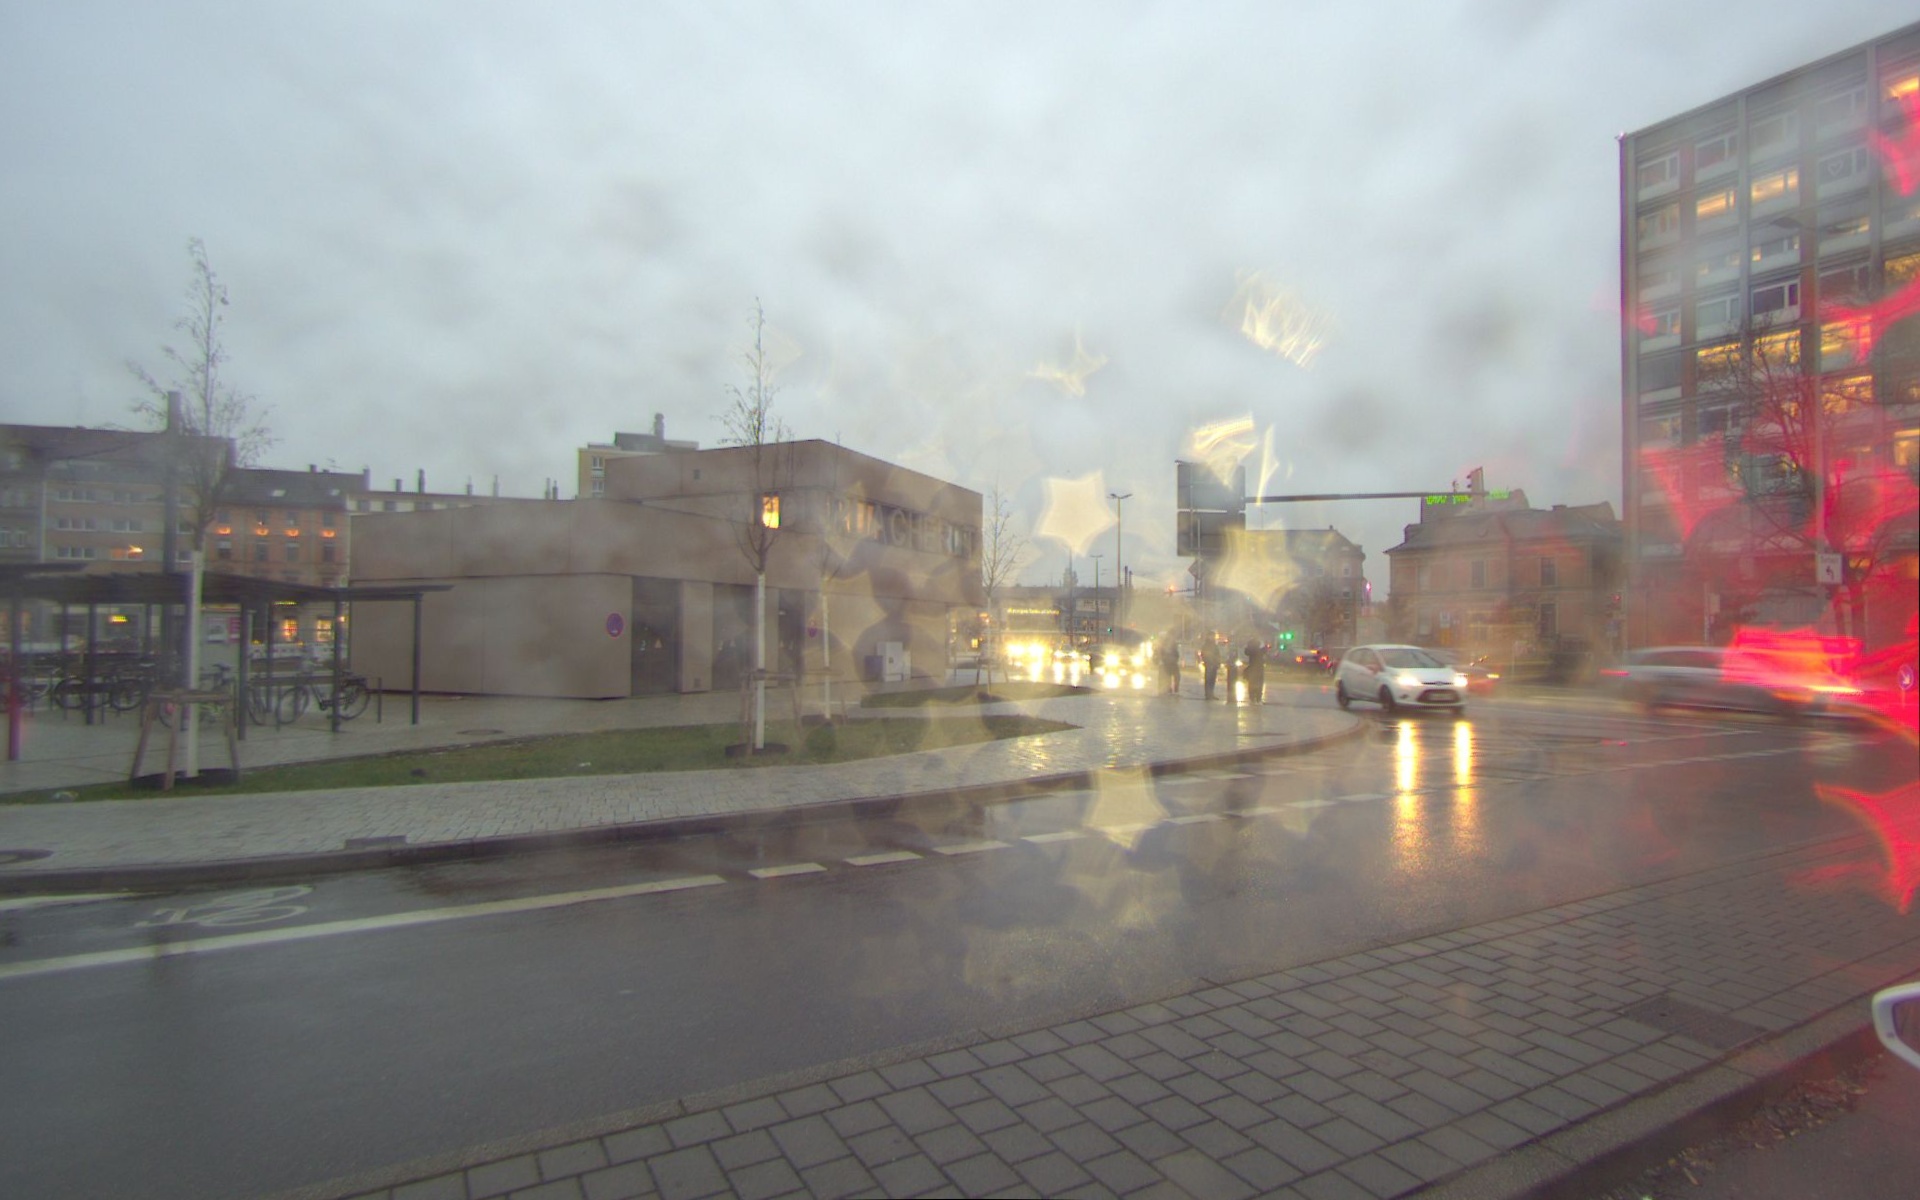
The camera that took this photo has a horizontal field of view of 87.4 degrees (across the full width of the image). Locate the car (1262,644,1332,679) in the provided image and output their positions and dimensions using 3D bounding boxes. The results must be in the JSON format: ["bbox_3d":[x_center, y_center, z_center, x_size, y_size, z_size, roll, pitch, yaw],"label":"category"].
[{"bbox_3d":[17.847,3.250,53.402,1.794,1.589,3.993,2,0,-10],"label":"car"}]

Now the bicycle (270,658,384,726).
[{"bbox_3d":[-11.758,1.683,18.714,0.605,1.172,1.755,1,-2,20],"label":"bicycle"}]

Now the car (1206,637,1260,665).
[{"bbox_3d":[19.609,3.669,72.350,3.514,1.850,1.672,2,0,8],"label":"car"}]

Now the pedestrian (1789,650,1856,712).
[{"bbox_3d":[26.992,2.521,31.451,1.117,1.867,1.004,-2,-2,-3],"label":"pedestrian"}]

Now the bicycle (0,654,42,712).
[{"bbox_3d":[-19.402,1.640,19.833,0.466,1.122,1.797,1,-2,29],"label":"bicycle"}]

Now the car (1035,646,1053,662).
[{"bbox_3d":[8.589,5.532,102.944,1.688,1.616,3.792,-1,-2,2],"label":"car"}]

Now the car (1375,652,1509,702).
[{"bbox_3d":[15.908,2.526,33.477,1.778,1.496,4.587,1,-3,-8],"label":"car"}]

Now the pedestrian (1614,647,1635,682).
[{"bbox_3d":[33.738,3.267,51.006,0.626,1.710,0.640,0,-2,-13],"label":"pedestrian"}]

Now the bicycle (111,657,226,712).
[{"bbox_3d":[-16.538,1.744,21.033,0.466,1.087,1.830,1,-2,26],"label":"bicycle"}]

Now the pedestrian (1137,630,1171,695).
[{"bbox_3d":[5.434,1.750,28.194,0.544,1.793,0.734,2,-3,-43],"label":"pedestrian"}]

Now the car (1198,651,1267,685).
[{"bbox_3d":[12.819,3.203,47.517,1.778,1.496,3.964,1,-3,-7],"label":"car"}]

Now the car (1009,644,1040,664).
[{"bbox_3d":[5.226,4.420,82.078,1.742,1.598,3.995,0,-2,-8],"label":"car"}]

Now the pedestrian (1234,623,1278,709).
[{"bbox_3d":[7.191,1.587,24.379,0.971,2.047,0.802,-1,-2,19],"label":"pedestrian"}]

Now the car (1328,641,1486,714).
[{"bbox_3d":[9.890,1.729,22.544,1.711,1.467,3.714,0,-4,-3],"label":"car"}]

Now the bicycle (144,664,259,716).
[{"bbox_3d":[-15.188,1.786,20.168,0.466,0.968,1.767,1,-2,29],"label":"bicycle"}]

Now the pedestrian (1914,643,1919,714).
[{"bbox_3d":[27.736,2.207,28.201,0.941,2.004,0.930,0,-2,-4],"label":"pedestrian"}]

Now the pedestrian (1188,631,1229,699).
[{"bbox_3d":[6.580,1.714,26.623,0.838,1.778,0.659,0,-2,-14],"label":"pedestrian"}]

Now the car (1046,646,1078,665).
[{"bbox_3d":[8.427,4.599,83.423,1.777,1.496,4.669,1,-3,-5],"label":"car"}]

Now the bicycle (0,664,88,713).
[{"bbox_3d":[-18.517,1.740,19.984,0.466,0.903,1.693,1,-2,24],"label":"bicycle"}]

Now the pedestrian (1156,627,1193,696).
[{"bbox_3d":[5.912,1.695,27.676,0.671,1.863,0.726,2,-3,-42],"label":"pedestrian"}]

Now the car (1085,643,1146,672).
[{"bbox_3d":[8.445,3.113,55.013,1.779,1.496,4.583,1,-3,-12],"label":"car"}]

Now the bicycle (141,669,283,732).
[{"bbox_3d":[-12.944,1.710,17.453,0.466,0.989,1.923,1,-2,29],"label":"bicycle"}]

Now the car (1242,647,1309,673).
[{"bbox_3d":[20.078,3.819,63.974,3.741,1.502,1.602,2,0,-1],"label":"car"}]

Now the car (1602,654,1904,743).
[{"bbox_3d":[16.094,1.930,20.774,1.907,1.572,4.685,1,-3,-16],"label":"car"}]

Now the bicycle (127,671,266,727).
[{"bbox_3d":[-13.594,1.745,17.946,0.466,0.903,1.923,1,-2,29],"label":"bicycle"}]

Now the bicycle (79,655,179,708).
[{"bbox_3d":[-17.695,1.718,21.427,0.511,1.050,1.574,1,-2,19],"label":"bicycle"}]

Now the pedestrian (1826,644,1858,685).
[{"bbox_3d":[35.545,2.591,40.466,0.548,1.649,0.760,0,-2,-15],"label":"pedestrian"}]
